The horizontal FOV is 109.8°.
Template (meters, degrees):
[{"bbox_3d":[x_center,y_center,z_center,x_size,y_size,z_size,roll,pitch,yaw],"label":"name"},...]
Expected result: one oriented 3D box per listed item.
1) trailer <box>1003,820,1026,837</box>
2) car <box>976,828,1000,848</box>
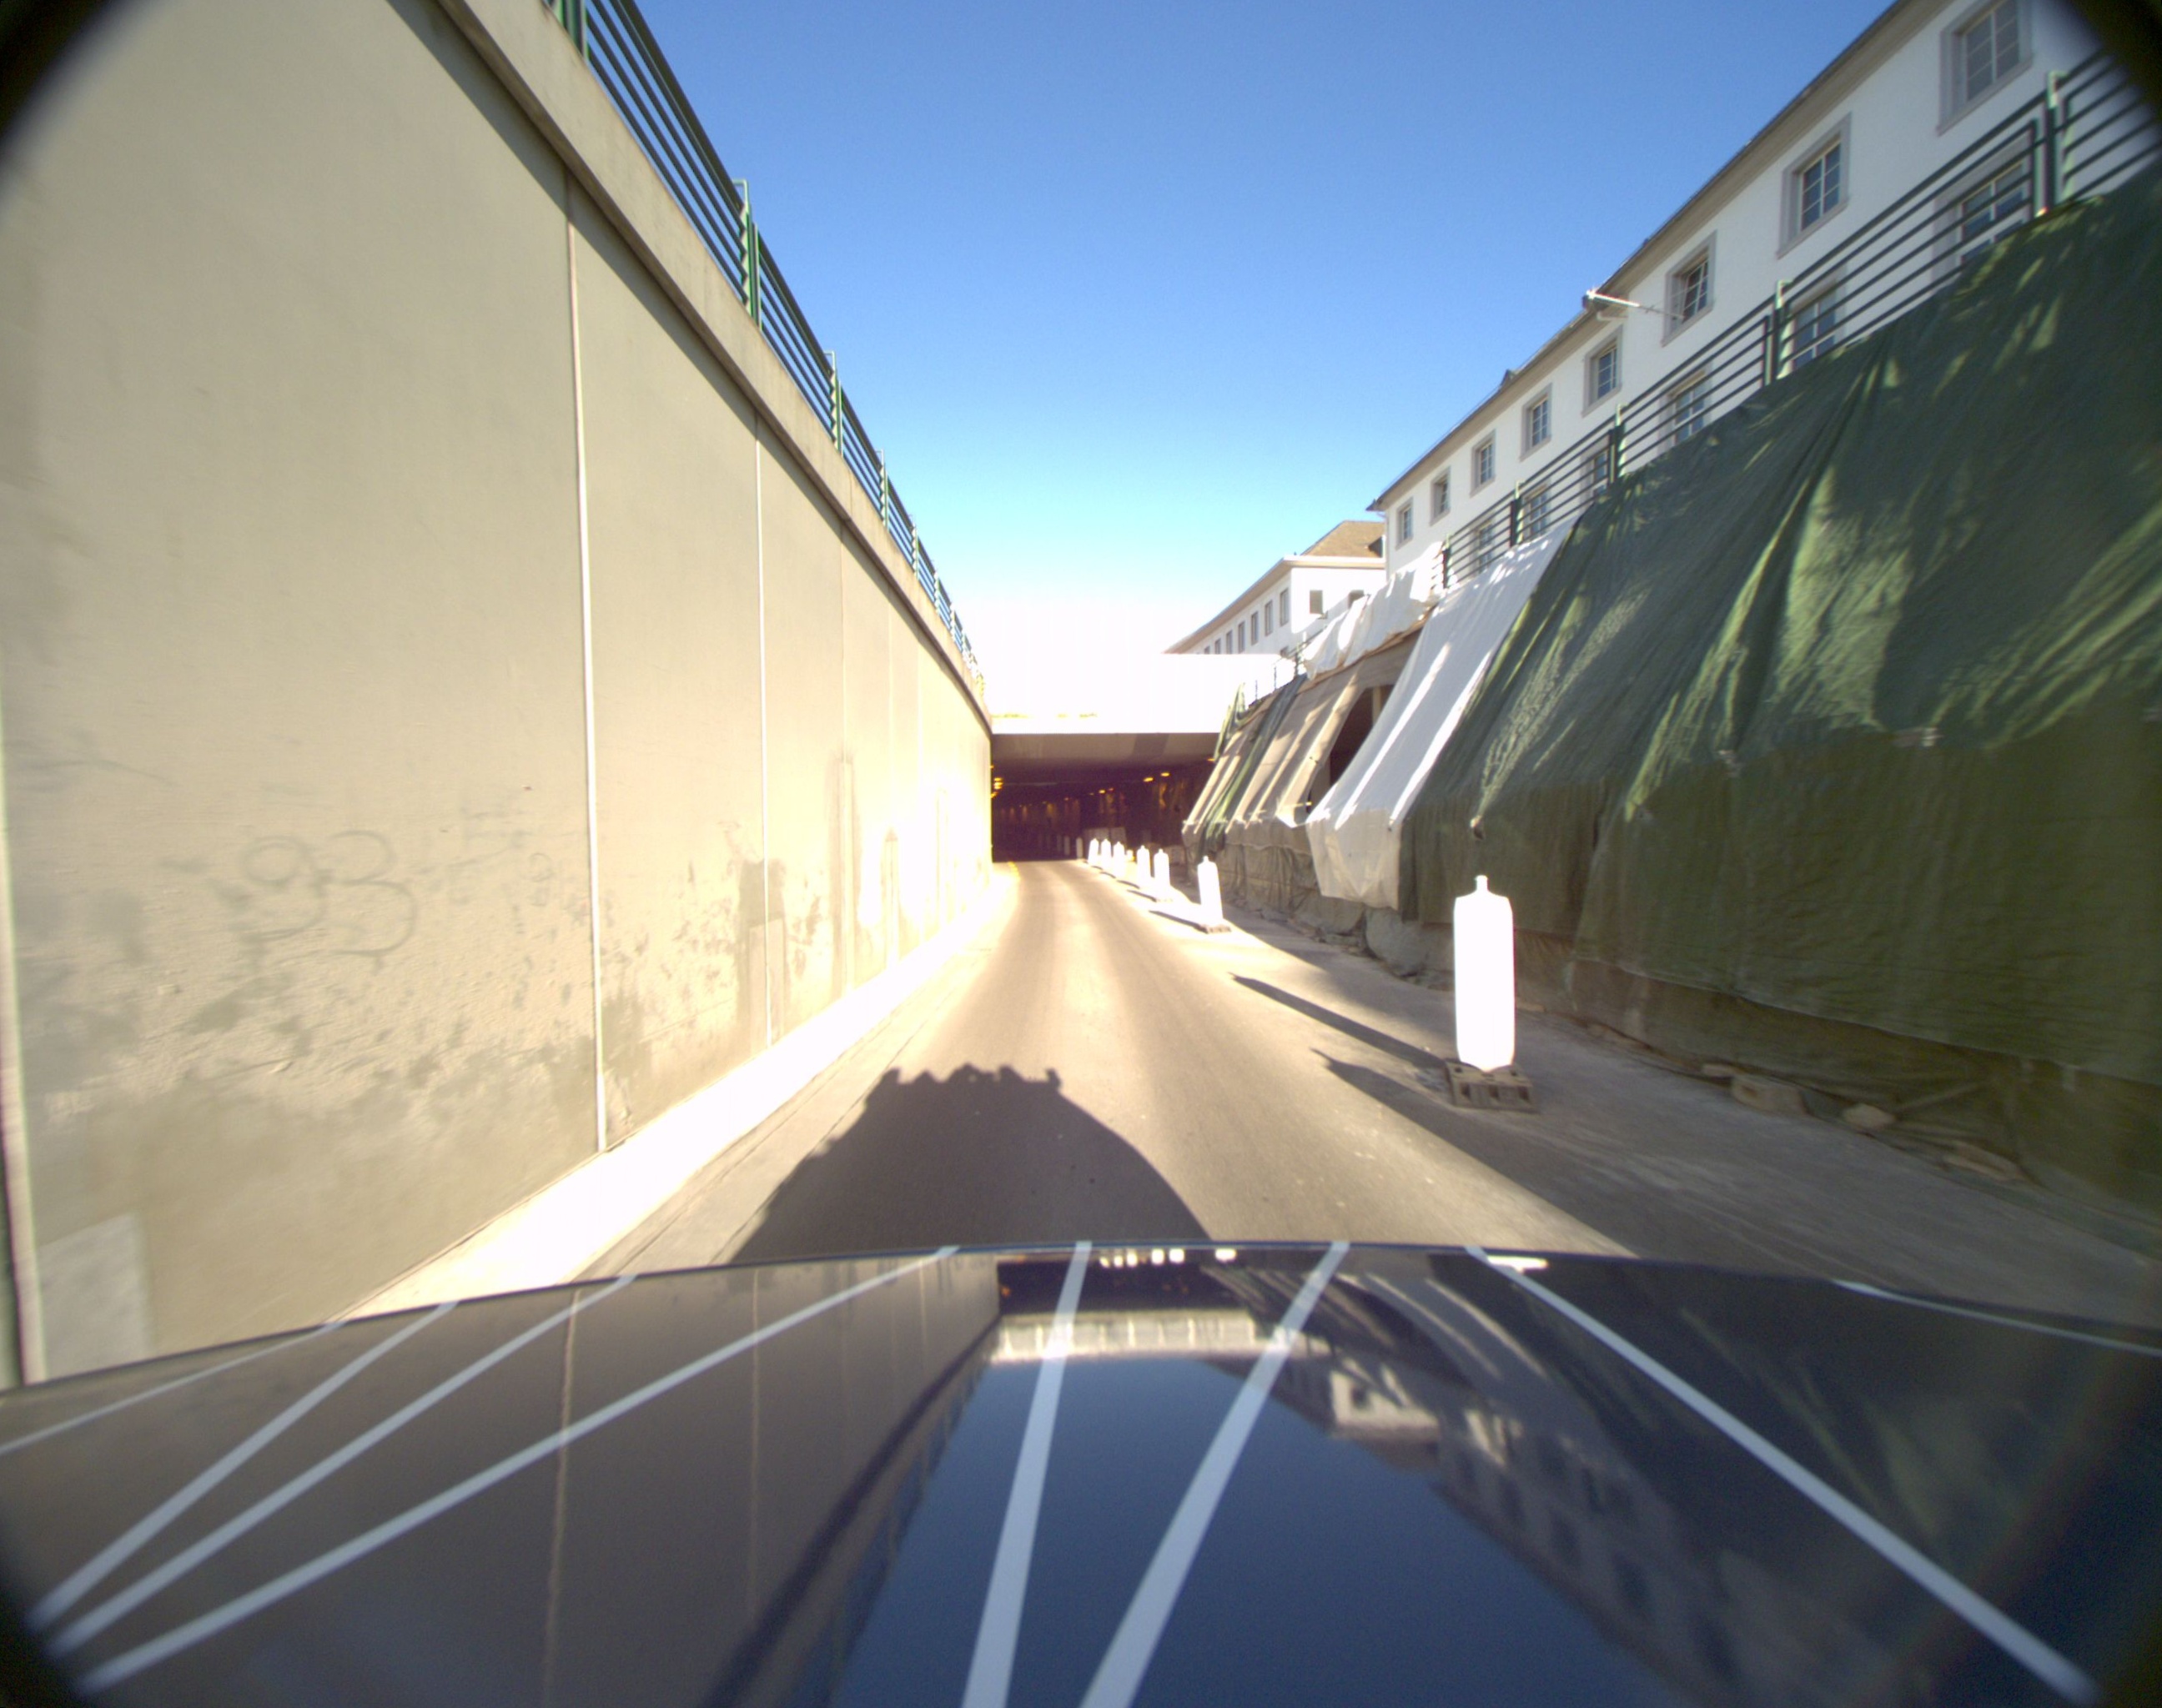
[{"bbox_3d":[-8.788,-3.387,100.269,2.217,2.003,3.459,-3,4,-19],"label":"trailer"},{"bbox_3d":[-8.138,-1.459,66.448,1.897,1.537,4.235,-2,4,-7],"label":"car"}]
